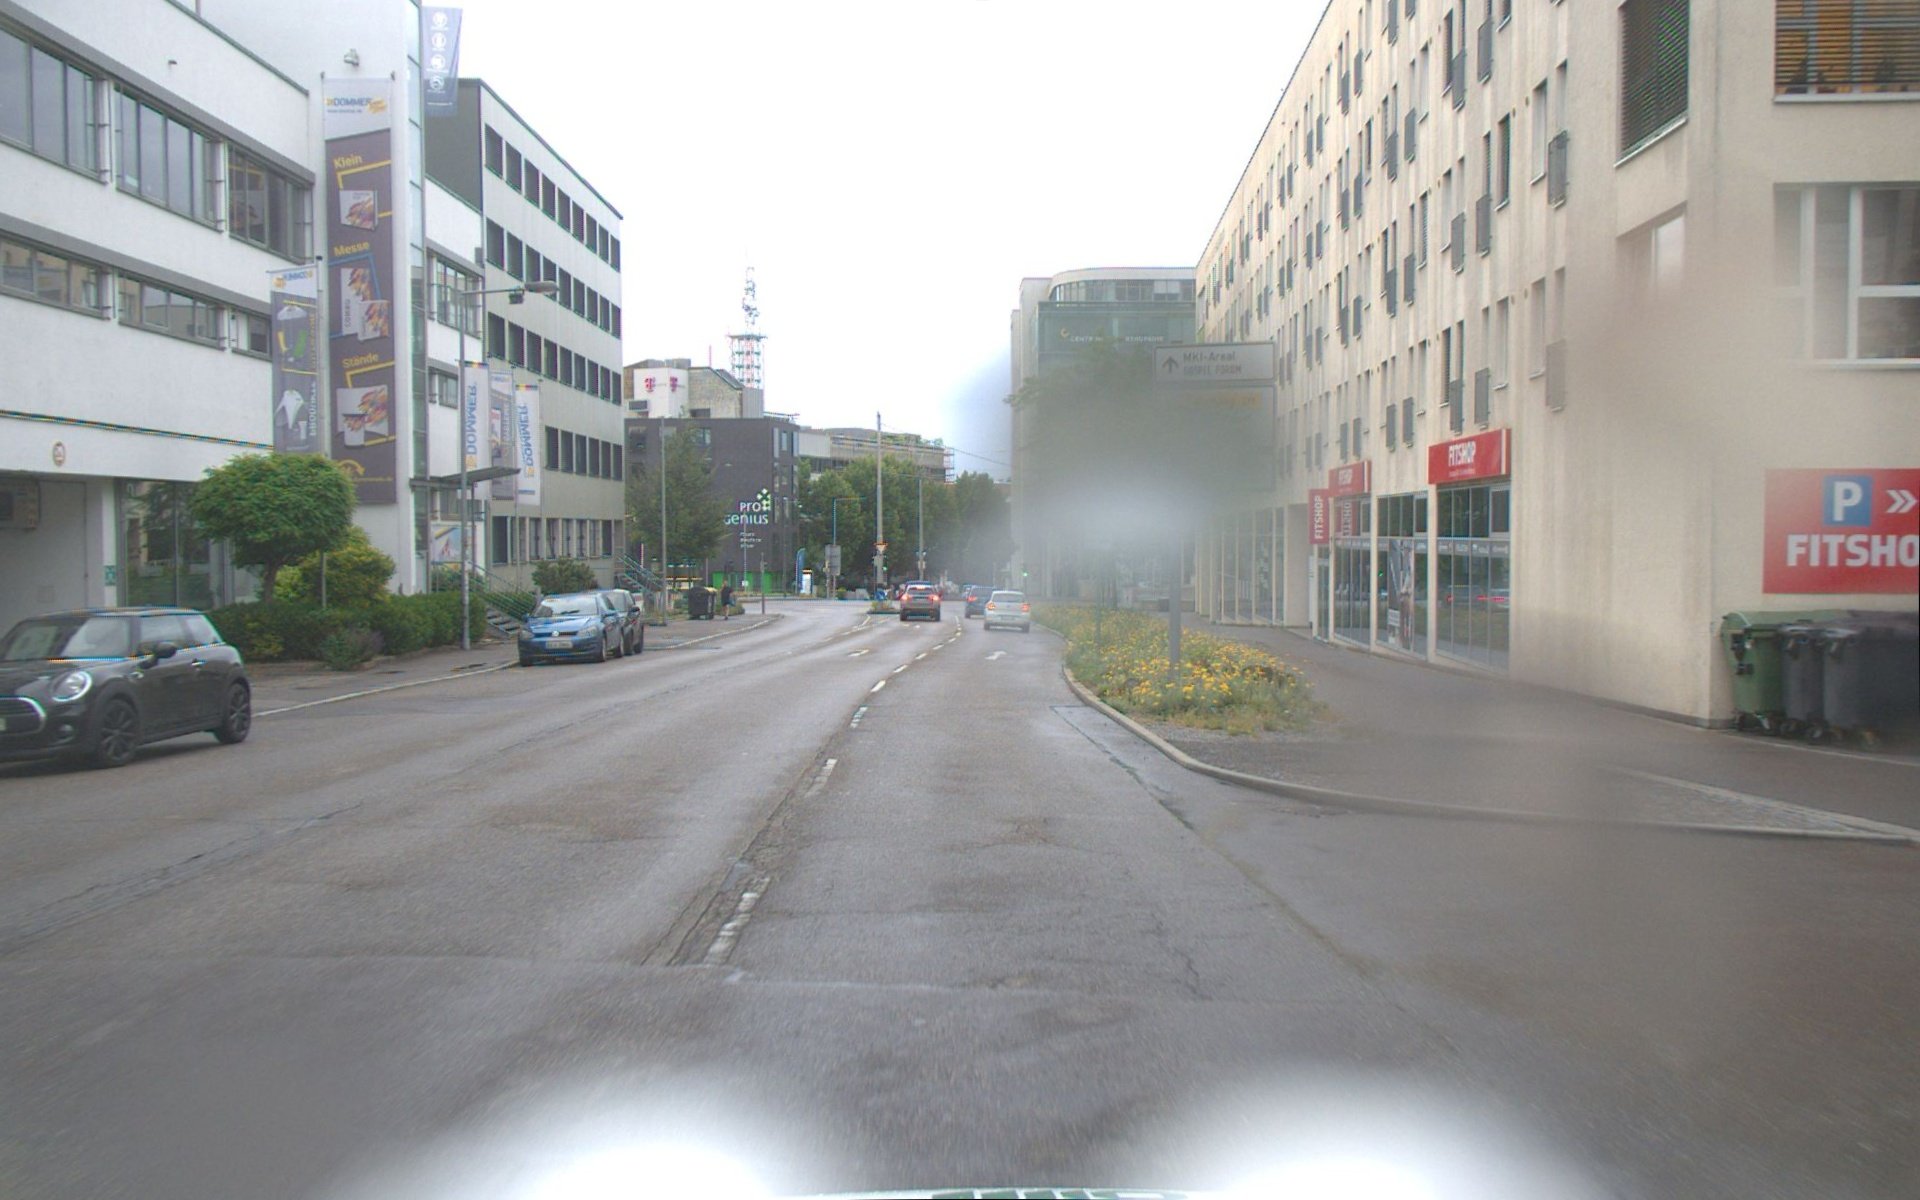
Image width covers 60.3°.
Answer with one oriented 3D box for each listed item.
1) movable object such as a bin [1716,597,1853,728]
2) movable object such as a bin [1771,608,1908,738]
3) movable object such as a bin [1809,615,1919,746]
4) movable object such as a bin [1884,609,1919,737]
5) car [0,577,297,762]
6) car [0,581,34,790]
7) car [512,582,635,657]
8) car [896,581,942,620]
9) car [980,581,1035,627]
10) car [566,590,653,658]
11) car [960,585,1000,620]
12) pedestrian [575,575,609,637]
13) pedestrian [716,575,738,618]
[{"bbox_3d":[9.874,0.728,19.849,1.149,1.529,1.014,0,0,2],"label":"movable object such as a bin"},{"bbox_3d":[9.980,0.811,18.809,1.000,1.427,1.058,0,0,1],"label":"movable object such as a bin"},{"bbox_3d":[9.998,0.841,17.705,1.209,1.343,1.192,-1,-1,1],"label":"movable object such as a bin"},{"bbox_3d":[11.336,0.821,18.632,1.235,1.427,1.112,0,0,1],"label":"movable object such as a bin"},{"bbox_3d":[-8.173,0.592,16.002,1.760,1.543,4.245,1,0,0],"label":"car"},{"bbox_3d":[-8.275,0.674,11.270,1.737,1.628,4.031,0,0,-2],"label":"car"},{"bbox_3d":[-8.236,0.415,35.605,1.876,1.507,4.353,1,0,-4],"label":"car"},{"bbox_3d":[-1.896,0.052,77.050,2.098,1.758,3.999,1,0,-1],"label":"car"},{"bbox_3d":[1.729,0.121,61.065,1.952,1.604,3.997,0,1,1],"label":"car"},{"bbox_3d":[-8.421,0.541,39.929,1.532,1.541,3.169,-1,0,-2],"label":"car"},{"bbox_3d":[1.032,0.097,85.886,1.953,1.780,3.672,0,0,-1],"label":"car"},{"bbox_3d":[-10.520,0.169,47.267,0.720,1.738,0.895,0,-1,-28],"label":"pedestrian"},{"bbox_3d":[-10.705,-0.157,75.926,0.943,1.989,0.776,1,-1,-13],"label":"pedestrian"}]
